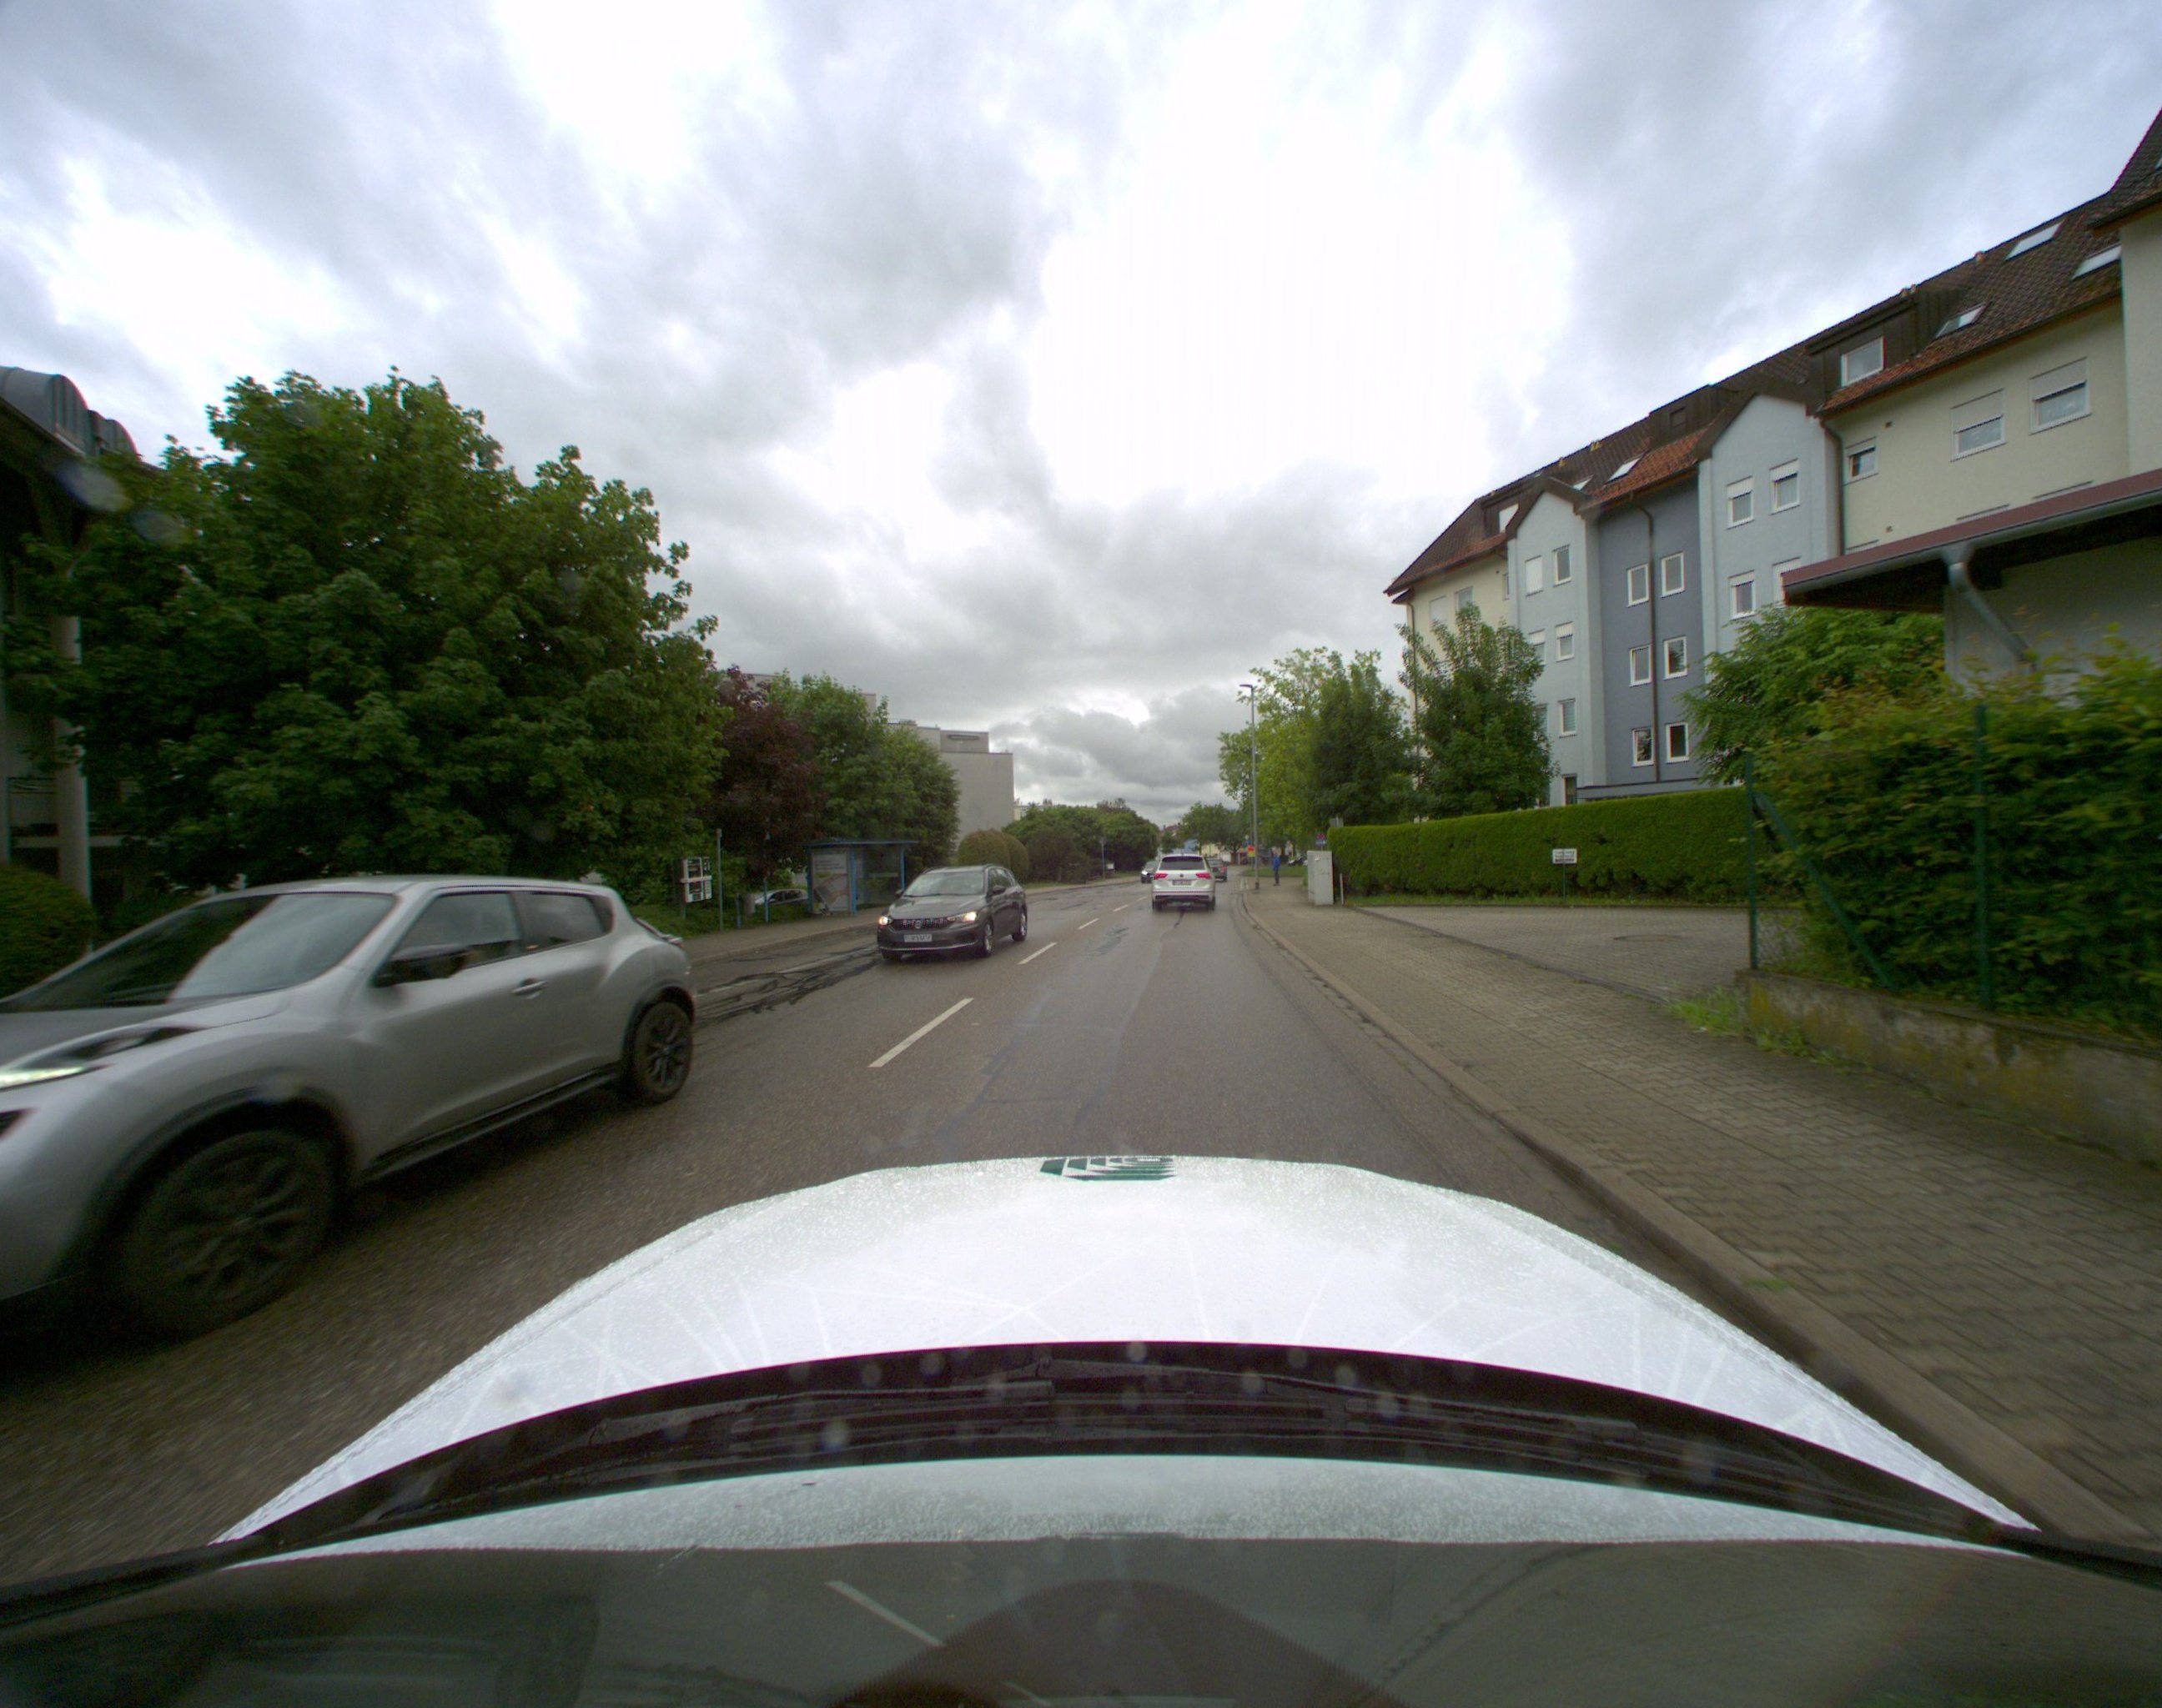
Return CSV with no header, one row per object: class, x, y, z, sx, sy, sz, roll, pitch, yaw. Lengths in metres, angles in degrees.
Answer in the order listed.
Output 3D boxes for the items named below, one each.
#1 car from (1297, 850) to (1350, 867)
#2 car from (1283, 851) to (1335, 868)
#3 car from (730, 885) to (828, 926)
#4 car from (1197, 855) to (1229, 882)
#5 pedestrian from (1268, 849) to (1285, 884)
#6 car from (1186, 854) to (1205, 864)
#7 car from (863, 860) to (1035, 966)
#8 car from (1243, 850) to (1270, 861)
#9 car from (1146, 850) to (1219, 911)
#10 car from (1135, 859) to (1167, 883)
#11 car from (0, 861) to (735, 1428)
car,22.848,0.421,76.787,4.550,1.443,1.767,-3,-1,5
car,22.218,0.499,79.522,4.550,1.443,1.767,-3,-1,5
car,-13.067,2.192,35.503,1.980,1.421,4.181,-3,0,13
car,8.190,0.890,50.727,1.759,1.551,4.008,-2,-1,7
pedestrian,9.540,0.606,39.798,0.588,1.666,0.774,0,0,-5
car,17.427,0.702,124.074,1.990,1.420,3.994,-1,0,-4
car,-2.152,0.930,14.556,1.766,1.473,4.260,-3,0,8
car,29.927,0.220,138.842,4.007,1.721,1.908,-2,-1,-25
car,3.195,0.747,24.924,1.853,1.651,4.013,-3,0,11
car,4.694,1.095,53.880,1.663,1.443,4.012,-3,0,10
car,-3.658,0.854,4.262,1.656,1.525,4.005,-3,0,5
